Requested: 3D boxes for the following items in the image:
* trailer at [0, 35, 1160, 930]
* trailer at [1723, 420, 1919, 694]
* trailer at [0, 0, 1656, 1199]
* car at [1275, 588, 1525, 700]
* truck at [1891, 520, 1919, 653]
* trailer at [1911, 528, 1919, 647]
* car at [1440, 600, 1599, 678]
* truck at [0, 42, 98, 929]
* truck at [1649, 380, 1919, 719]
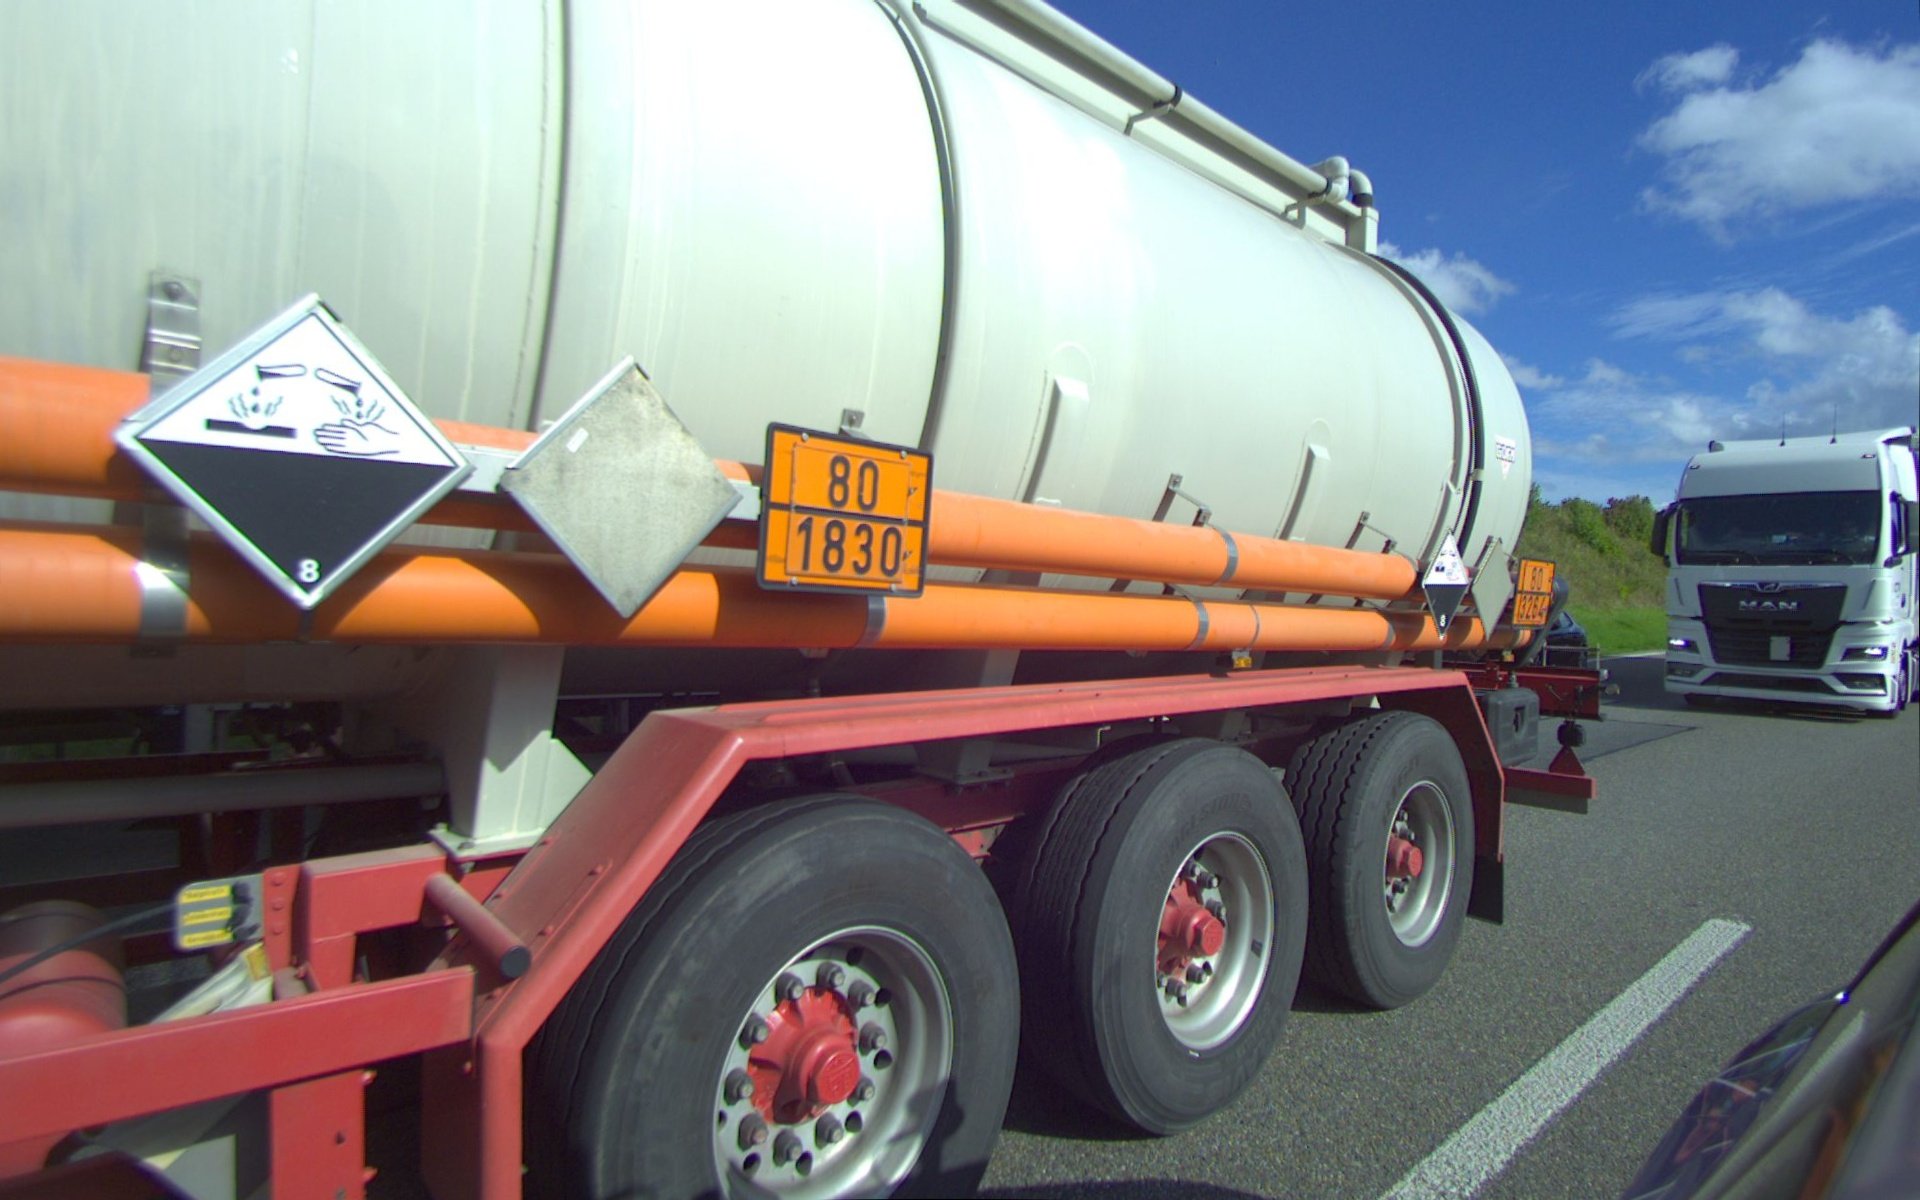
[{"bbox_3d":[-2.965,-0.510,6.644,10.441,3.643,2.546,0,1,-41],"label":"trailer"},{"bbox_3d":[18.546,-0.664,20.243,12.718,4.133,2.707,0,1,-41],"label":"trailer"},{"bbox_3d":[-1.245,-0.498,2.634,10.441,3.700,2.545,0,0,-41],"label":"trailer"},{"bbox_3d":[7.123,0.594,16.142,4.656,1.532,1.903,0,0,-42],"label":"car"},{"bbox_3d":[31.429,-0.417,31.685,6.874,3.918,2.651,0,0,-41],"label":"truck"},{"bbox_3d":[37.333,-0.432,36.860,13.161,3.917,2.666,0,0,-41],"label":"trailer"},{"bbox_3d":[11.036,0.707,19.868,3.673,1.369,1.635,0,0,-42],"label":"car"},{"bbox_3d":[-7.019,-0.468,3.098,6.658,3.618,2.534,0,1,-41],"label":"truck"},{"bbox_3d":[12.996,-0.653,15.361,6.251,4.110,2.713,0,1,-41],"label":"truck"}]
